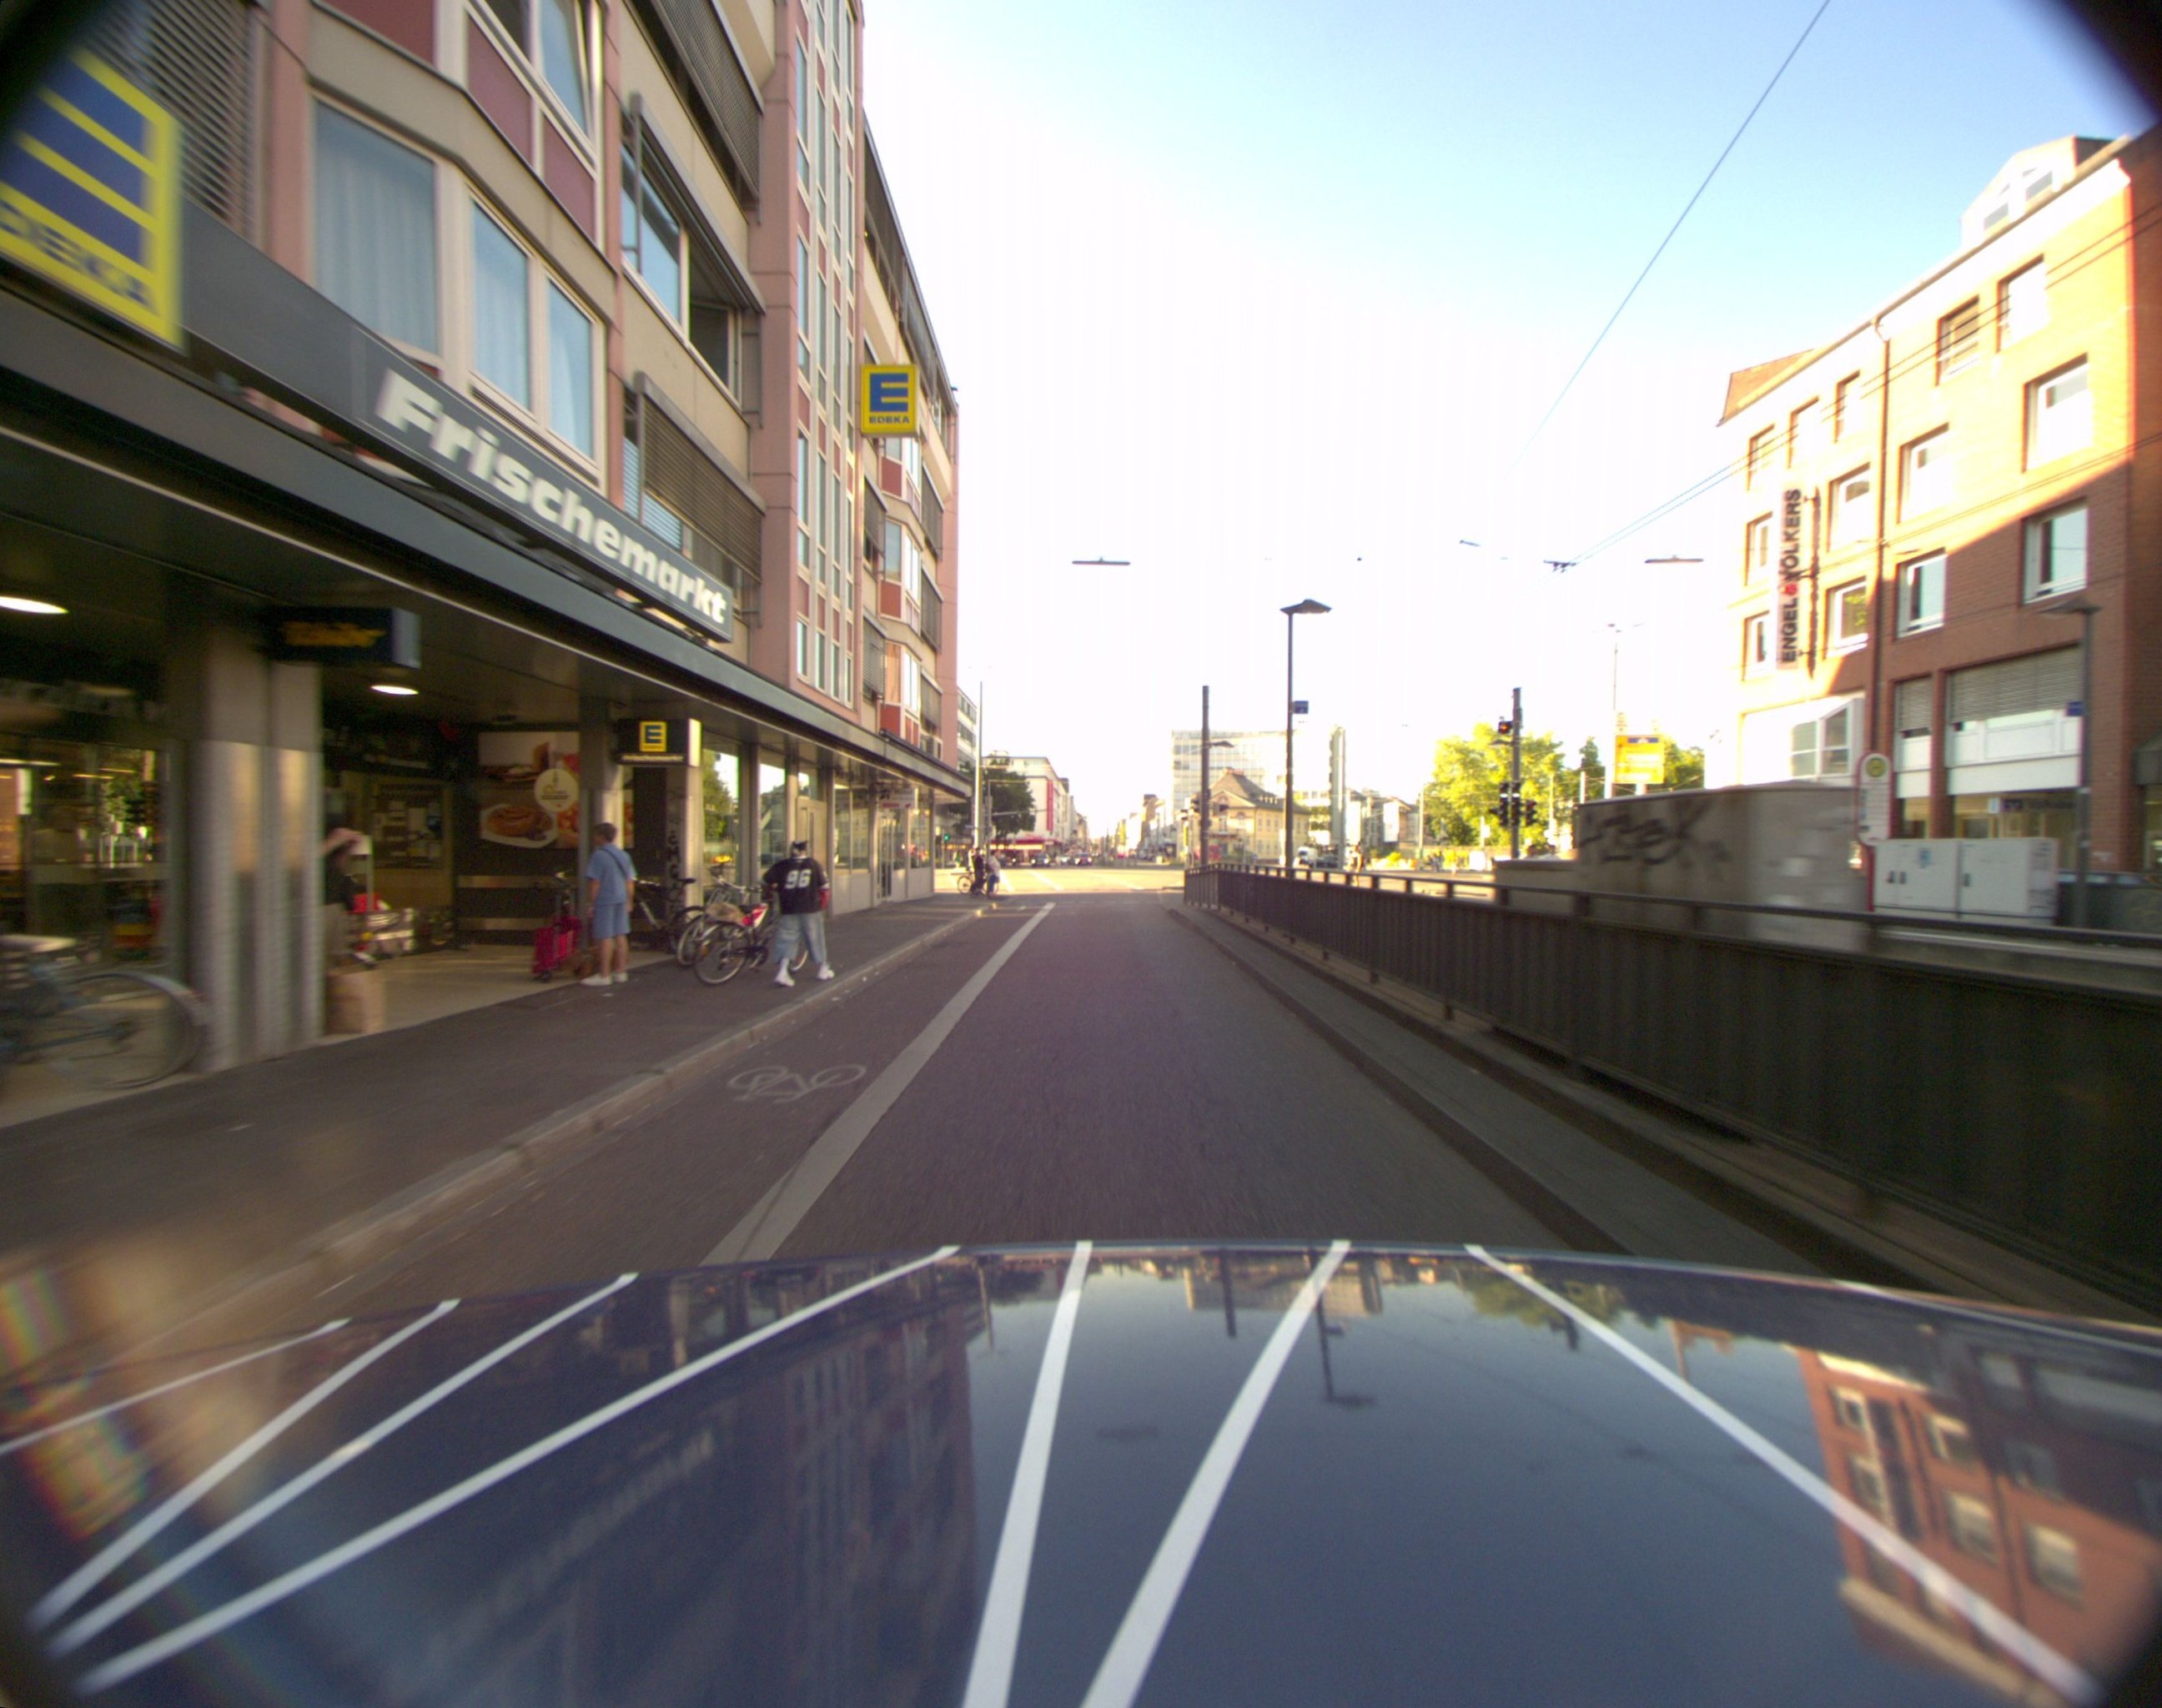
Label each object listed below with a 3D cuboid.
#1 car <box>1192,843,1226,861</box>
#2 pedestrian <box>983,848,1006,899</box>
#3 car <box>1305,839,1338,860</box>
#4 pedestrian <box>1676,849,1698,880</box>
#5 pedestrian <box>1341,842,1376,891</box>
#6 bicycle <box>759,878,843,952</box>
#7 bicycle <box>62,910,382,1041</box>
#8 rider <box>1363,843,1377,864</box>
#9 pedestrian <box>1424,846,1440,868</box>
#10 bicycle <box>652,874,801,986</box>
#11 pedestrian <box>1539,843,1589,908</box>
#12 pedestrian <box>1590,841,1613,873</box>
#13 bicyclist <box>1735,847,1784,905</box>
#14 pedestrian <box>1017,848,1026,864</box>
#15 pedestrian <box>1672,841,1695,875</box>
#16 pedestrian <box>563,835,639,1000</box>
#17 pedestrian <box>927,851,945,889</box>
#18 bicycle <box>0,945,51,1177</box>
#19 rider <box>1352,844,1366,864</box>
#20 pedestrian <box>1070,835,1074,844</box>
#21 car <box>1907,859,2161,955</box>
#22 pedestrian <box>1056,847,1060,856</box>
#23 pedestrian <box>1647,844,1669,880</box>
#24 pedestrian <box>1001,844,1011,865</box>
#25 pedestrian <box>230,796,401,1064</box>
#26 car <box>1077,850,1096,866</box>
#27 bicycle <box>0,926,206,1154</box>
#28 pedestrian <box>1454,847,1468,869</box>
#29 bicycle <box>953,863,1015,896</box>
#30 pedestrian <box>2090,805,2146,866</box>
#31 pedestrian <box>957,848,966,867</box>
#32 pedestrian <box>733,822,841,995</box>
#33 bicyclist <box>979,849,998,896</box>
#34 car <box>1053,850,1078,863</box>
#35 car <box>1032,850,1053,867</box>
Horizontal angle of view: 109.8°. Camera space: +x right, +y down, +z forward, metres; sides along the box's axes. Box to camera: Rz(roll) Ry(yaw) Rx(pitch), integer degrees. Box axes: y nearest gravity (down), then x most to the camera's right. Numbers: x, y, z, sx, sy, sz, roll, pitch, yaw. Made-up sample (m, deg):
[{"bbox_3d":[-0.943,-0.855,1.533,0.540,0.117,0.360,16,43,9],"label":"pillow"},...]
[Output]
[{"bbox_3d":[17.324,-0.269,103.207,2.544,2.441,5.415,-2,0,-14],"label":"car"},{"bbox_3d":[-2.902,0.634,25.447,0.637,1.652,0.768,3,1,-8],"label":"pedestrian"},{"bbox_3d":[36.656,-0.746,115.585,2.535,3.031,6.387,3,3,38],"label":"car"},{"bbox_3d":[30.491,0.526,38.240,0.858,1.502,0.813,-2,2,38],"label":"pedestrian"},{"bbox_3d":[10.383,0.460,28.459,0.812,1.793,0.859,-3,2,-27],"label":"pedestrian"},{"bbox_3d":[-4.493,0.951,12.324,0.678,0.971,1.842,4,1,-2],"label":"bicycle"},{"bbox_3d":[-6.986,0.975,6.237,1.929,0.933,0.576,1,1,-1],"label":"bicycle"},{"bbox_3d":[28.741,-0.019,75.453,1.011,2.002,0.991,-2,2,35],"label":"rider"},{"bbox_3d":[33.905,0.299,73.467,1.073,2.002,0.989,-2,1,5],"label":"pedestrian"},{"bbox_3d":[-4.347,0.883,9.468,0.800,1.169,1.634,4,2,13],"label":"bicycle"},{"bbox_3d":[13.432,0.582,21.167,0.860,1.757,0.811,-2,1,6],"label":"pedestrian"},{"bbox_3d":[33.026,0.169,48.240,0.811,2.002,0.860,-3,2,-13],"label":"pedestrian"},{"bbox_3d":[21.104,0.667,23.644,0.738,1.757,0.811,-3,1,-1],"label":"bicyclist"},{"bbox_3d":[-6.337,0.181,81.116,0.860,1.700,1.051,-1,1,-3],"label":"pedestrian"},{"bbox_3d":[35.870,0.237,45.252,0.812,2.002,0.858,-4,2,-39],"label":"pedestrian"},{"bbox_3d":[-4.846,0.620,7.681,0.406,1.586,0.462,4,2,29],"label":"pedestrian"},{"bbox_3d":[-6.029,0.659,31.619,0.691,1.527,0.613,0,1,-10],"label":"pedestrian"},{"bbox_3d":[-5.976,0.953,3.385,1.929,1.054,0.576,1,1,-1],"label":"bicycle"},{"bbox_3d":[27.880,-0.001,76.213,1.011,2.002,1.022,-2,2,35],"label":"rider"},{"bbox_3d":[-1.420,-2.245,116.582,0.597,1.434,0.613,0,1,-10],"label":"pedestrian"},{"bbox_3d":[18.583,0.897,14.132,1.906,1.520,4.120,1,0,0],"label":"car"},{"bbox_3d":[-3.585,-0.443,118.317,0.597,1.434,0.613,0,1,-2],"label":"pedestrian"},{"bbox_3d":[29.392,0.414,38.683,0.858,1.757,0.813,-1,2,38],"label":"pedestrian"},{"bbox_3d":[-7.436,0.034,75.319,0.747,2.002,1.070,-3,1,-12],"label":"pedestrian"},{"bbox_3d":[-5.612,0.506,5.634,0.734,1.806,0.805,-1,1,-36],"label":"pedestrian"},{"bbox_3d":[0.659,0.457,84.047,1.971,1.664,4.875,-1,0,1],"label":"car"},{"bbox_3d":[-5.979,0.946,4.045,1.929,1.054,0.576,1,1,-1],"label":"bicycle"},{"bbox_3d":[36.590,0.371,73.147,1.011,2.002,0.991,-2,2,35],"label":"pedestrian"},{"bbox_3d":[-3.502,0.920,27.595,2.175,1.117,0.768,0,1,-3],"label":"bicycle"},{"bbox_3d":[28.627,-0.510,20.988,0.612,1.652,0.637,0,2,0],"label":"pedestrian"},{"bbox_3d":[-8.993,0.260,57.157,0.597,1.434,0.613,-3,1,-10],"label":"pedestrian"},{"bbox_3d":[-3.225,0.562,8.375,0.805,1.806,0.734,0,1,20],"label":"pedestrian"},{"bbox_3d":[-3.360,0.655,27.595,0.637,1.668,0.768,0,2,-3],"label":"bicyclist"},{"bbox_3d":[-1.996,0.319,97.587,1.974,1.664,4.868,-2,0,-15],"label":"car"},{"bbox_3d":[-4.060,0.464,80.784,1.972,1.664,4.874,-1,0,-1],"label":"car"}]
